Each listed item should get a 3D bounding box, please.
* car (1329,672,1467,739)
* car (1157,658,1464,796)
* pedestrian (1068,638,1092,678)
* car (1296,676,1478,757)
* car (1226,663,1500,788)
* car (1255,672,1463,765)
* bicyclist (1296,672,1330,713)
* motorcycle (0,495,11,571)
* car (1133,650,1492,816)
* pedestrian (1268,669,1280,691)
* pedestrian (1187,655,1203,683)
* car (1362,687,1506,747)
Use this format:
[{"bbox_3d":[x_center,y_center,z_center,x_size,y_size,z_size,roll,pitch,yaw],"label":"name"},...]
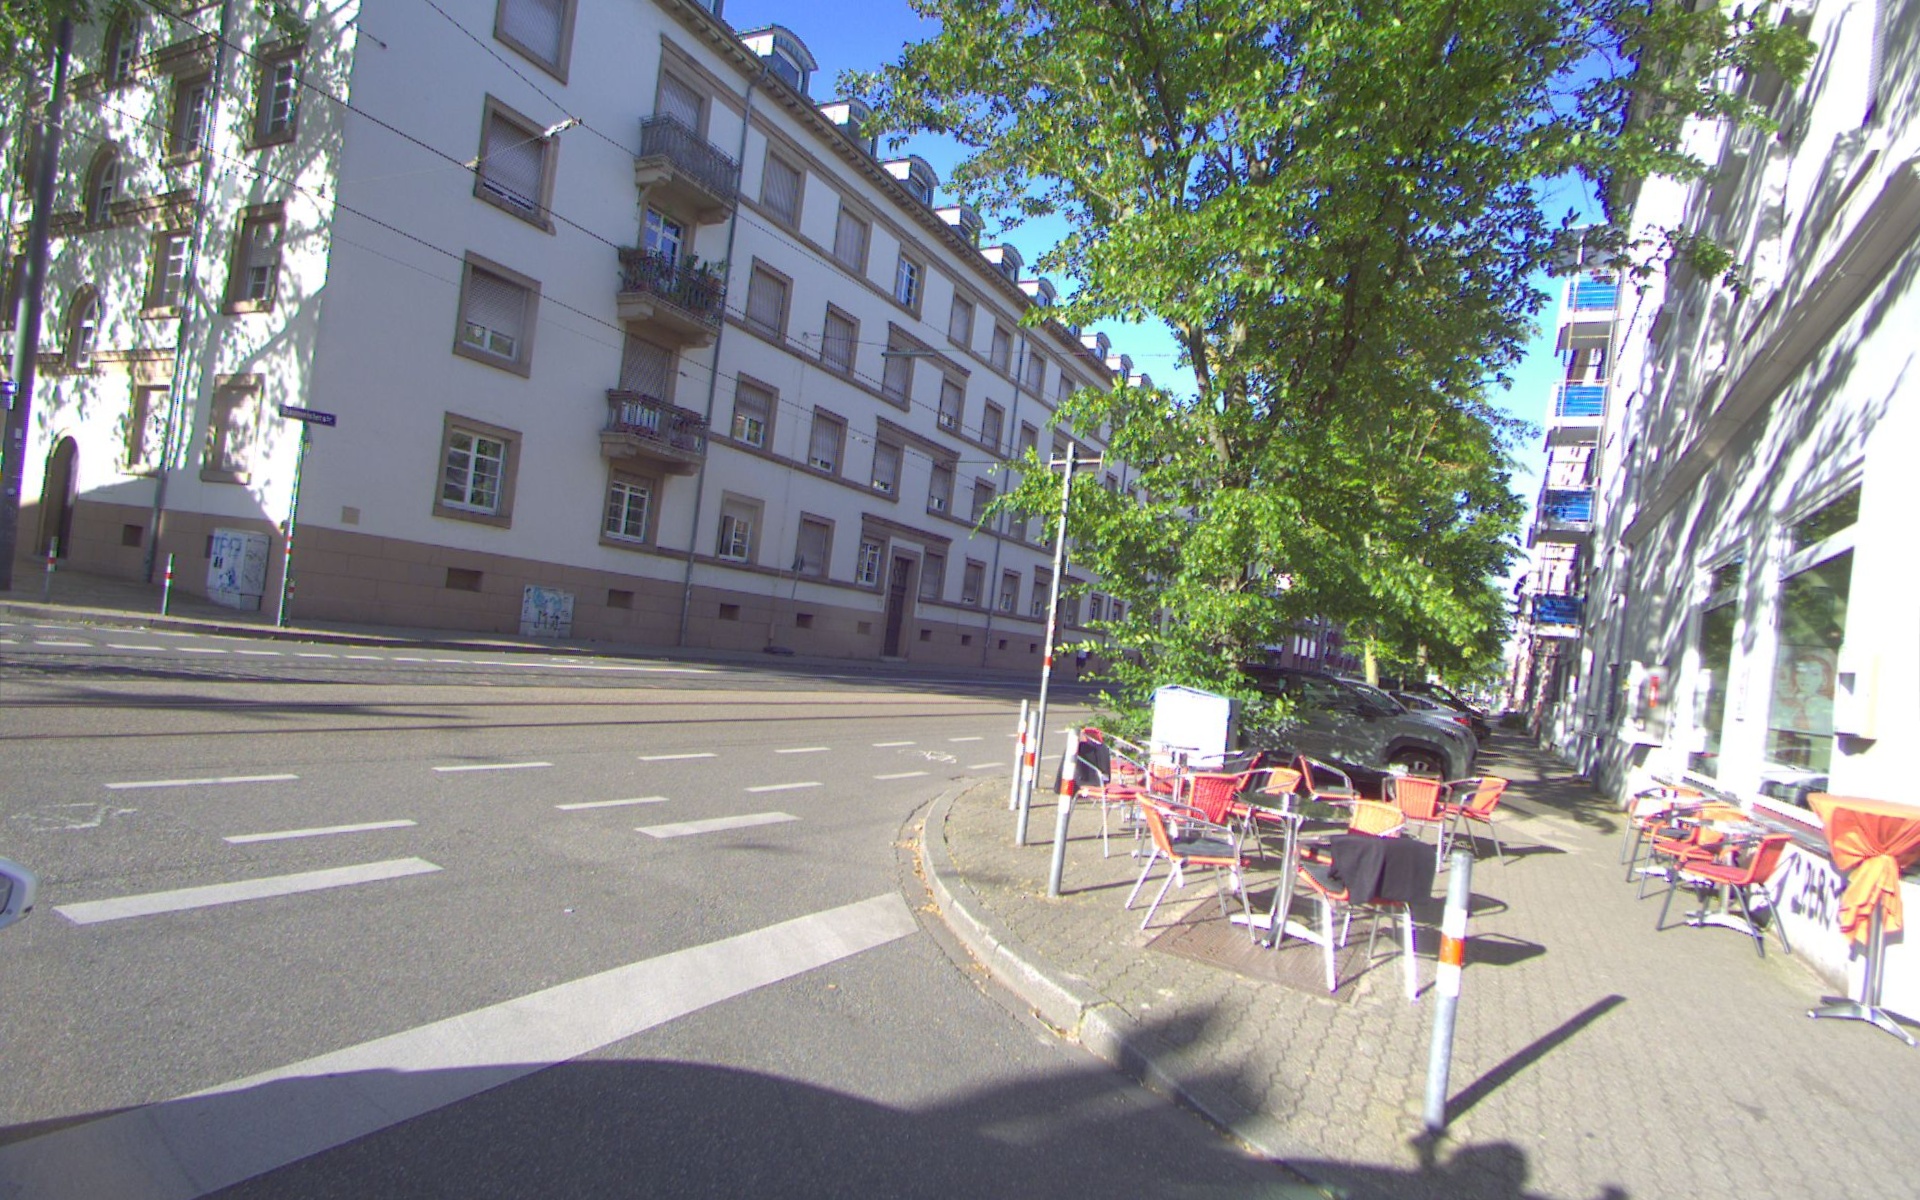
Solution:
[{"bbox_3d":[15.869,3.815,36.570,4.061,1.910,1.888,6,-1,-4],"label":"car"},{"bbox_3d":[5.313,1.918,15.533,4.061,1.574,1.620,6,-1,-4],"label":"car"},{"bbox_3d":[5.871,2.818,49.068,0.725,1.859,0.696,7,0,27],"label":"pedestrian"},{"bbox_3d":[10.900,2.933,25.855,4.061,1.506,1.620,5,-1,23],"label":"car"},{"bbox_3d":[6.898,2.124,17.597,4.056,1.574,1.621,6,-1,9],"label":"car"},{"bbox_3d":[8.880,2.611,22.701,4.057,1.506,1.621,6,-1,14],"label":"car"},{"bbox_3d":[13.635,3.571,38.842,0.886,1.471,1.262,7,-1,28],"label":"bicyclist"},{"bbox_3d":[-18.119,-1.311,18.345,1.732,1.348,0.515,7,0,27],"label":"motorcycle"},{"bbox_3d":[4.477,1.675,13.261,4.057,1.574,1.621,6,-1,4],"label":"car"},{"bbox_3d":[28.589,7.294,91.528,0.725,1.859,0.696,7,0,27],"label":"pedestrian"},{"bbox_3d":[16.459,4.865,70.545,0.725,1.859,0.696,7,0,27],"label":"pedestrian"},{"bbox_3d":[16.101,3.965,34.257,4.061,1.506,1.620,6,-1,-4],"label":"car"}]
